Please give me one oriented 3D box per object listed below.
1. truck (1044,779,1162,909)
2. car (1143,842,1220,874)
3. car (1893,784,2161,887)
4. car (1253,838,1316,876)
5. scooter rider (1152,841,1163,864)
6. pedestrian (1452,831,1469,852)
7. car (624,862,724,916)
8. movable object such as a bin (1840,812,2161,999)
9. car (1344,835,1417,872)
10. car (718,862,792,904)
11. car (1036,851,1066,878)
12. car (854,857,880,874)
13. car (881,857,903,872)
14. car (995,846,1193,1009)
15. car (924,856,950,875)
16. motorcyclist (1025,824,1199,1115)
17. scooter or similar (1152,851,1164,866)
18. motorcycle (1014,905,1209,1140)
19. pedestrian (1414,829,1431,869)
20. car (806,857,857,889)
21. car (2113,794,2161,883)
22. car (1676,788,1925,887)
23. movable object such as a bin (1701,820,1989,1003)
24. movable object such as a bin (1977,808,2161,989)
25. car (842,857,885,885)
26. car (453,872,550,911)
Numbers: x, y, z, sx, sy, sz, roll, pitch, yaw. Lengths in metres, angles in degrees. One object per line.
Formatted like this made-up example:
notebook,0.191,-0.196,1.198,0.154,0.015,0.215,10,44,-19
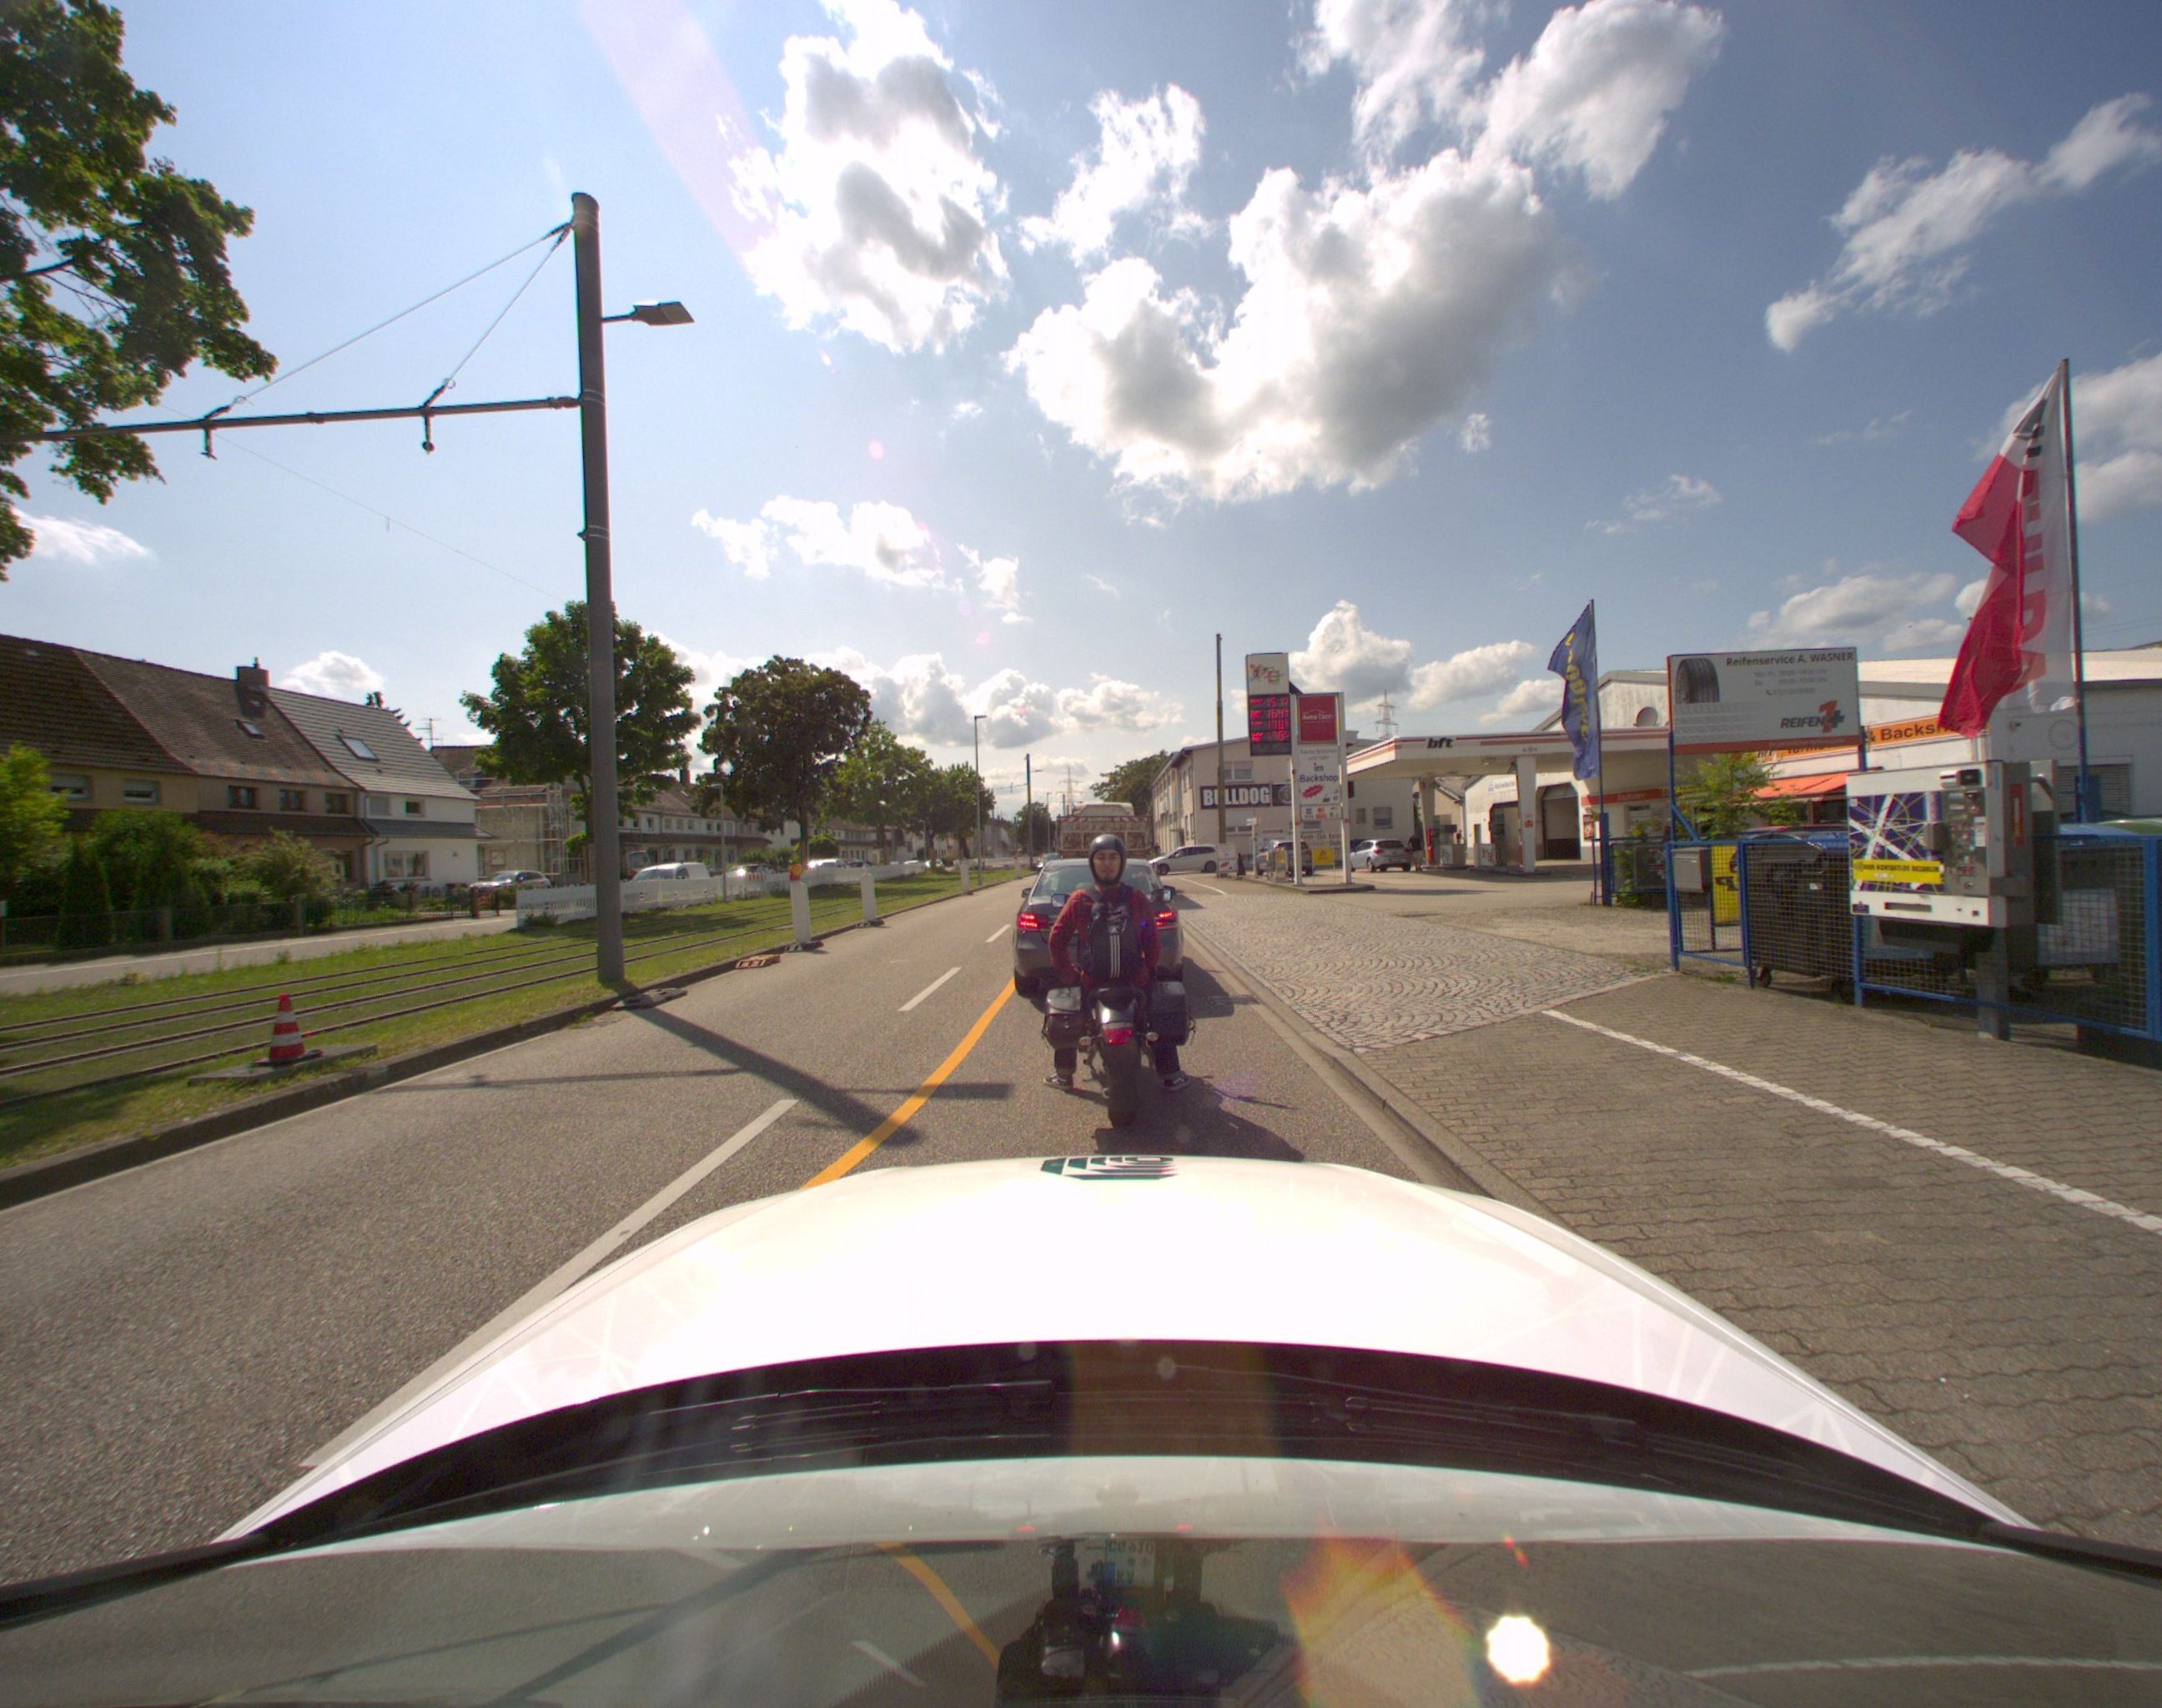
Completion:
truck,0.642,-0.284,25.613,2.960,3.304,8.407,-2,0,1
car,5.767,0.226,47.057,4.100,1.624,1.682,-3,0,-7
car,21.249,-0.403,18.277,3.972,2.013,2.001,-2,0,1
car,9.069,0.120,36.585,1.826,1.536,4.009,-3,0,1
scooter rider,6.008,-0.130,63.899,0.792,1.818,0.508,-2,0,1
pedestrian,28.315,-0.924,60.771,0.862,1.572,0.807,0,-1,5
car,-15.418,1.275,31.066,1.692,1.817,3.862,-2,0,2
movable object such as a bin,8.103,0.413,7.288,1.222,1.454,1.455,-2,0,0
car,13.539,-0.025,37.077,1.826,1.479,4.009,-3,0,1
car,-15.325,1.322,38.496,1.692,1.739,4.056,-2,0,2
car,-1.942,0.678,53.669,1.674,1.624,4.120,-2,0,1
car,-24.461,1.301,93.149,1.692,1.739,4.064,-2,0,2
car,-24.374,1.344,105.375,1.692,1.739,4.064,-2,0,2
car,0.156,0.696,9.810,1.826,1.479,4.009,-3,0,1
car,-14.136,1.149,80.309,1.692,1.739,3.862,-2,0,2
motorcyclist,0.193,0.650,5.205,0.966,1.633,1.215,-1,0,1
scooter or similar,6.032,0.371,63.896,0.792,1.144,1.520,-2,0,2
motorcycle,0.194,0.929,5.322,0.972,1.013,2.433,-1,0,2
pedestrian,14.842,-0.211,35.396,0.628,1.683,0.626,-2,0,23
car,-15.069,1.109,49.401,1.692,1.739,3.862,-2,0,2
car,26.352,-0.436,18.193,3.972,2.013,2.001,-2,0,1
car,16.601,-0.374,18.970,3.972,2.013,2.001,-2,0,1
movable object such as a bin,6.824,0.467,7.413,1.222,1.454,1.455,-2,0,0
movable object such as a bin,9.449,0.332,7.199,1.425,1.454,1.455,-2,0,0
car,-14.866,1.138,55.767,1.692,1.739,3.862,-2,0,2
car,-27.478,1.728,38.803,1.692,1.593,3.862,-2,0,2
